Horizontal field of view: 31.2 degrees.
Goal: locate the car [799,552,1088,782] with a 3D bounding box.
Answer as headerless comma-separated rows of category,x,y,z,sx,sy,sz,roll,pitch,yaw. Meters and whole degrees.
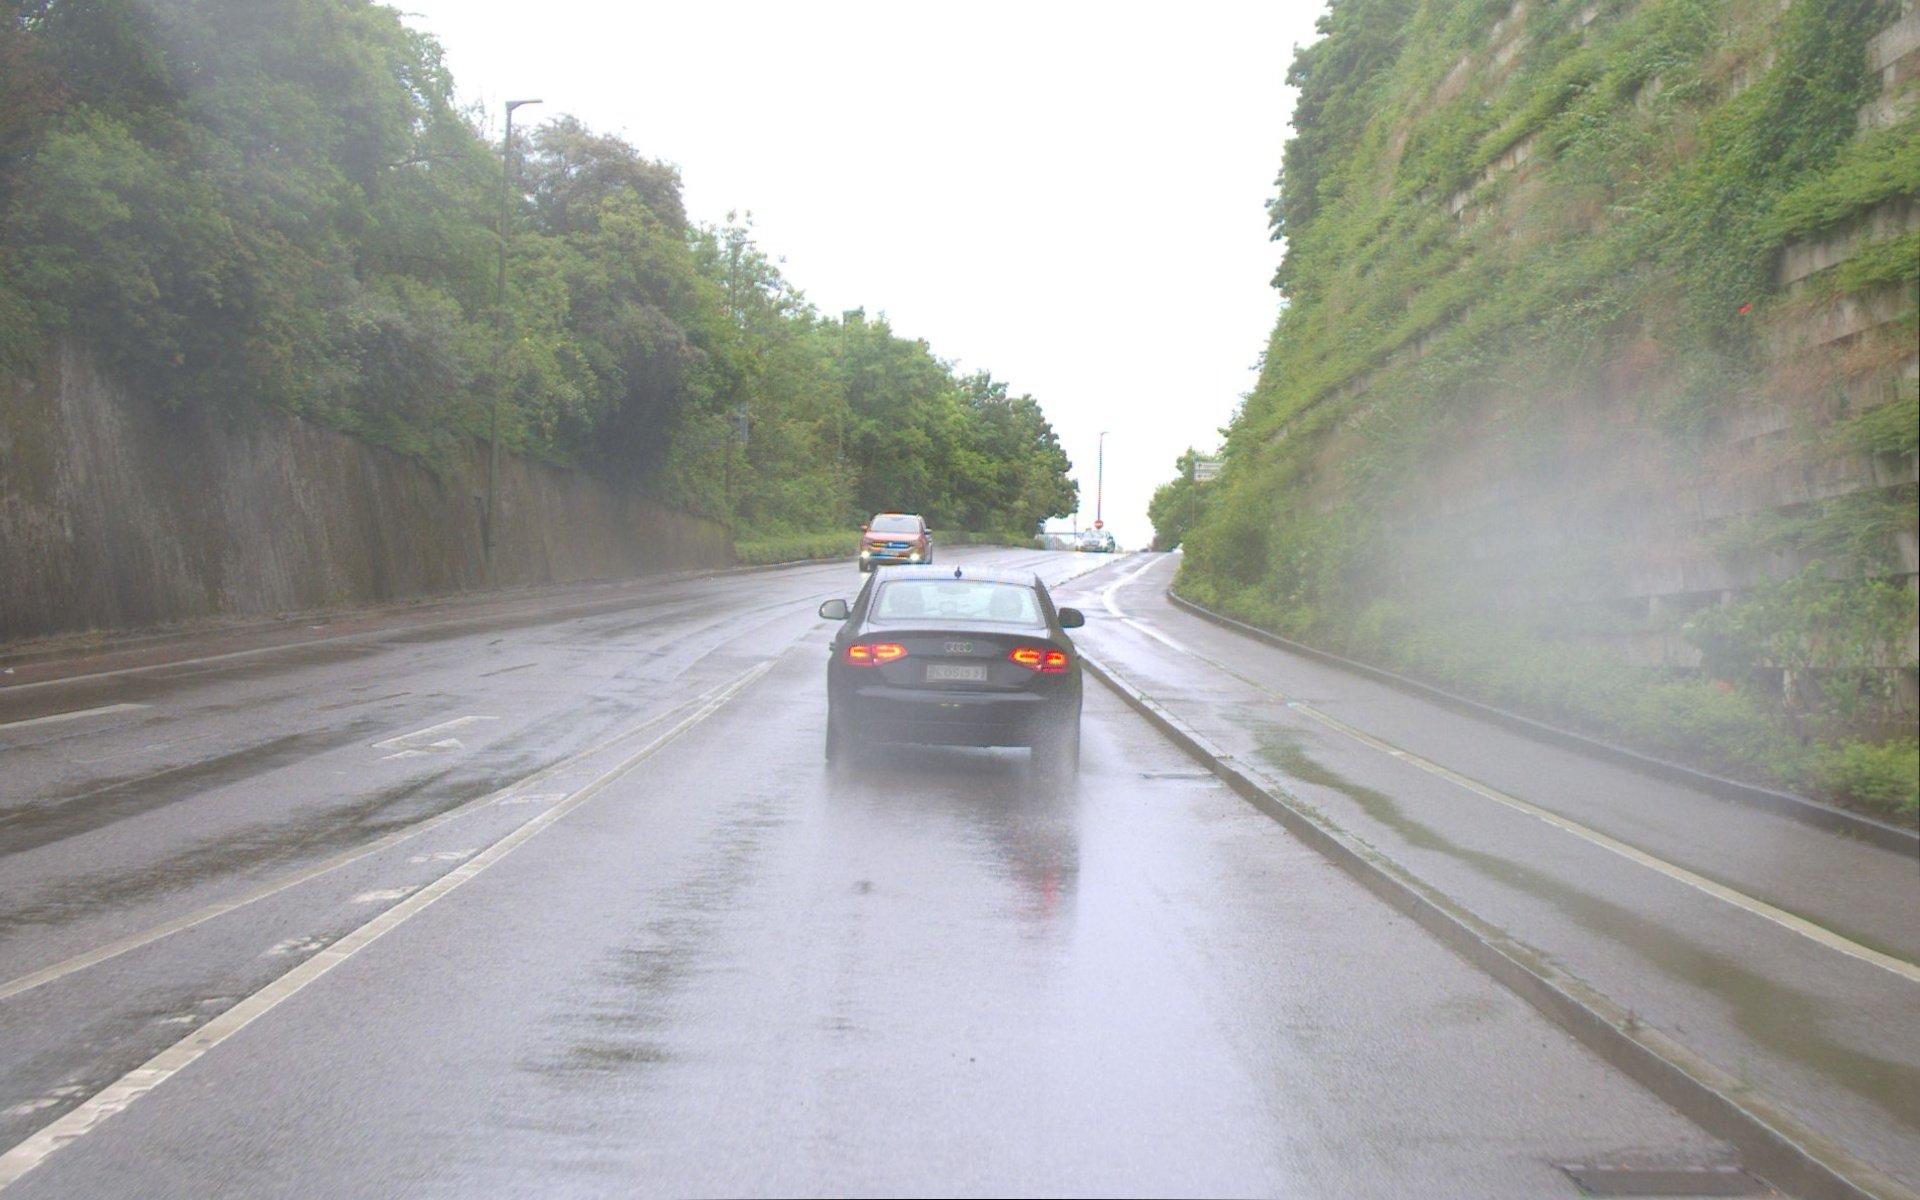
car,-0.042,0.439,24.907,1.893,1.487,4.207,-1,0,2

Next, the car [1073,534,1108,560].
car,7.256,-2.956,190.966,1.865,1.444,4.377,1,1,3

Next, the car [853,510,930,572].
car,-1.853,-1.602,93.973,1.733,1.612,4.000,1,1,3
